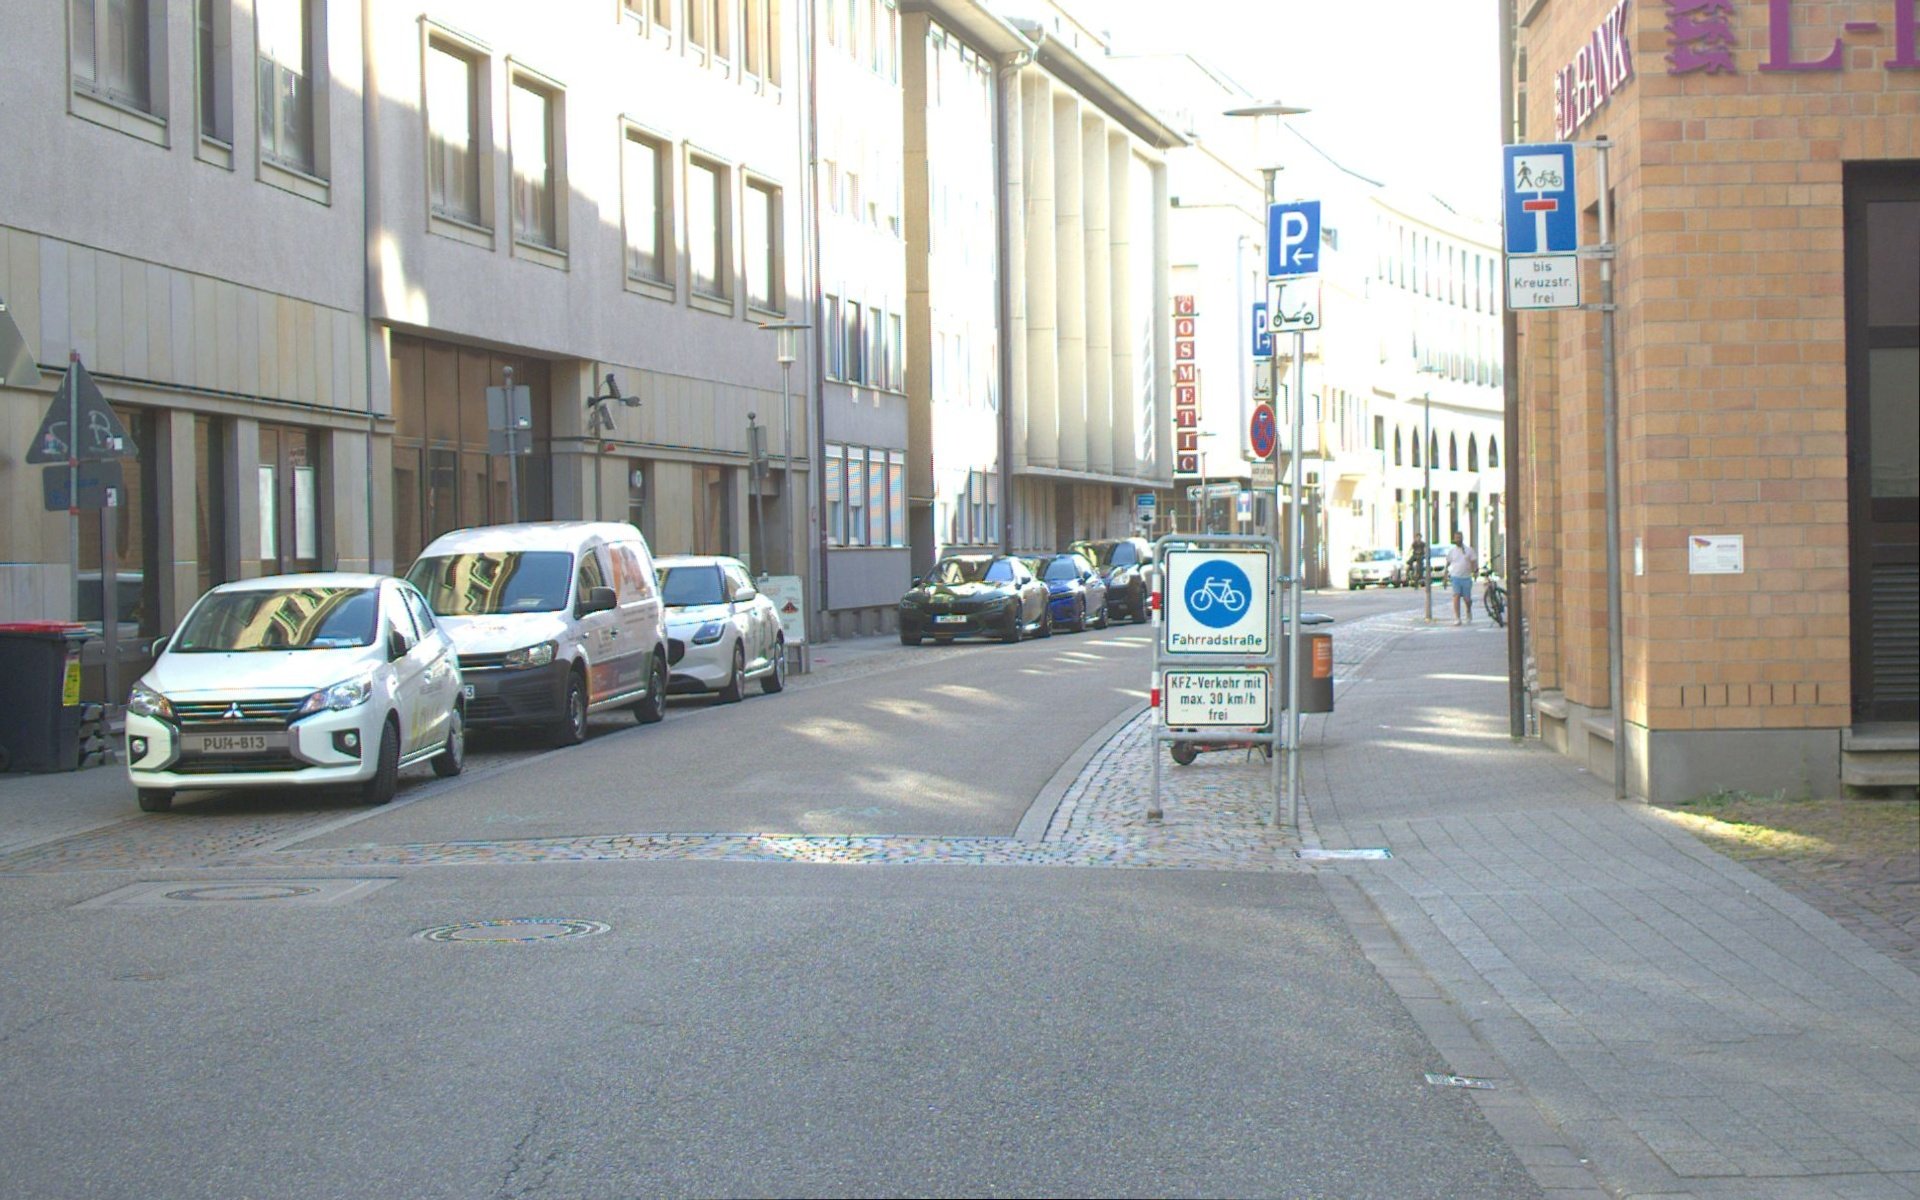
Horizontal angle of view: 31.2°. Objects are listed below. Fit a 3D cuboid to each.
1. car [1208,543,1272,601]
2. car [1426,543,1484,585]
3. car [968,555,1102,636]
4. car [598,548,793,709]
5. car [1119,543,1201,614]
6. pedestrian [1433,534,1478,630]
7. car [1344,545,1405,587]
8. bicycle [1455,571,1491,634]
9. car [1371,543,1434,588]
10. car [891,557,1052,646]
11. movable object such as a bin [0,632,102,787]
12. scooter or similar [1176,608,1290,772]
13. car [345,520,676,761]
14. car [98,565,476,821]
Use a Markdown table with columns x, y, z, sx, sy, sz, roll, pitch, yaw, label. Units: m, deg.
| x | y | z | sx | sy | sz | roll | pitch | yaw | label |
| --- | --- | --- | --- | --- | --- | --- | --- | --- | --- |
| 7.534 | -0.759 | 92.322 | 1.339 | 1.489 | 3.345 | -1 | 1 | 11 | car |
| 16.945 | -1.232 | 117.596 | 1.690 | 1.365 | 3.616 | -1 | 1 | 13 | car |
| 1.375 | -0.106 | 61.424 | 1.725 | 1.336 | 3.998 | -1 | 1 | 11 | car |
| -2.662 | 0.254 | 35.195 | 1.271 | 1.501 | 3.401 | -2 | 1 | 7 | car |
| 4.390 | -0.490 | 75.057 | 1.339 | 1.489 | 3.508 | -1 | 1 | 11 | car |
| 9.009 | -0.326 | 62.526 | 0.664 | 1.724 | 0.840 | 2 | 0 | 0 | pedestrian |
| 14.108 | -1.163 | 116.926 | 1.690 | 1.365 | 3.616 | -1 | 1 | 13 | car |
| 8.455 | 0.028 | 56.702 | 0.511 | 0.990 | 2.647 | -1 | 1 | 7 | bicycle |
| 14.330 | -1.132 | 111.203 | 1.690 | 1.365 | 3.616 | -1 | 1 | 13 | car |
| 0.226 | 0.002 | 55.695 | 1.882 | 1.327 | 4.099 | -1 | 1 | 11 | car |
| -6.476 | 0.770 | 24.370 | 0.608 | 1.057 | 0.713 | 2 | 0 | -2 | movable object such as a bin |
| 1.935 | 0.635 | 24.422 | 0.771 | 1.133 | 0.269 | 2 | 0 | 3 | scooter or similar |
| -3.690 | 0.274 | 29.027 | 1.671 | 1.812 | 4.551 | -2 | 1 | 6 | car |
| -4.434 | 0.557 | 23.178 | 1.670 | 1.501 | 3.794 | -2 | 1 | 1 | car |
